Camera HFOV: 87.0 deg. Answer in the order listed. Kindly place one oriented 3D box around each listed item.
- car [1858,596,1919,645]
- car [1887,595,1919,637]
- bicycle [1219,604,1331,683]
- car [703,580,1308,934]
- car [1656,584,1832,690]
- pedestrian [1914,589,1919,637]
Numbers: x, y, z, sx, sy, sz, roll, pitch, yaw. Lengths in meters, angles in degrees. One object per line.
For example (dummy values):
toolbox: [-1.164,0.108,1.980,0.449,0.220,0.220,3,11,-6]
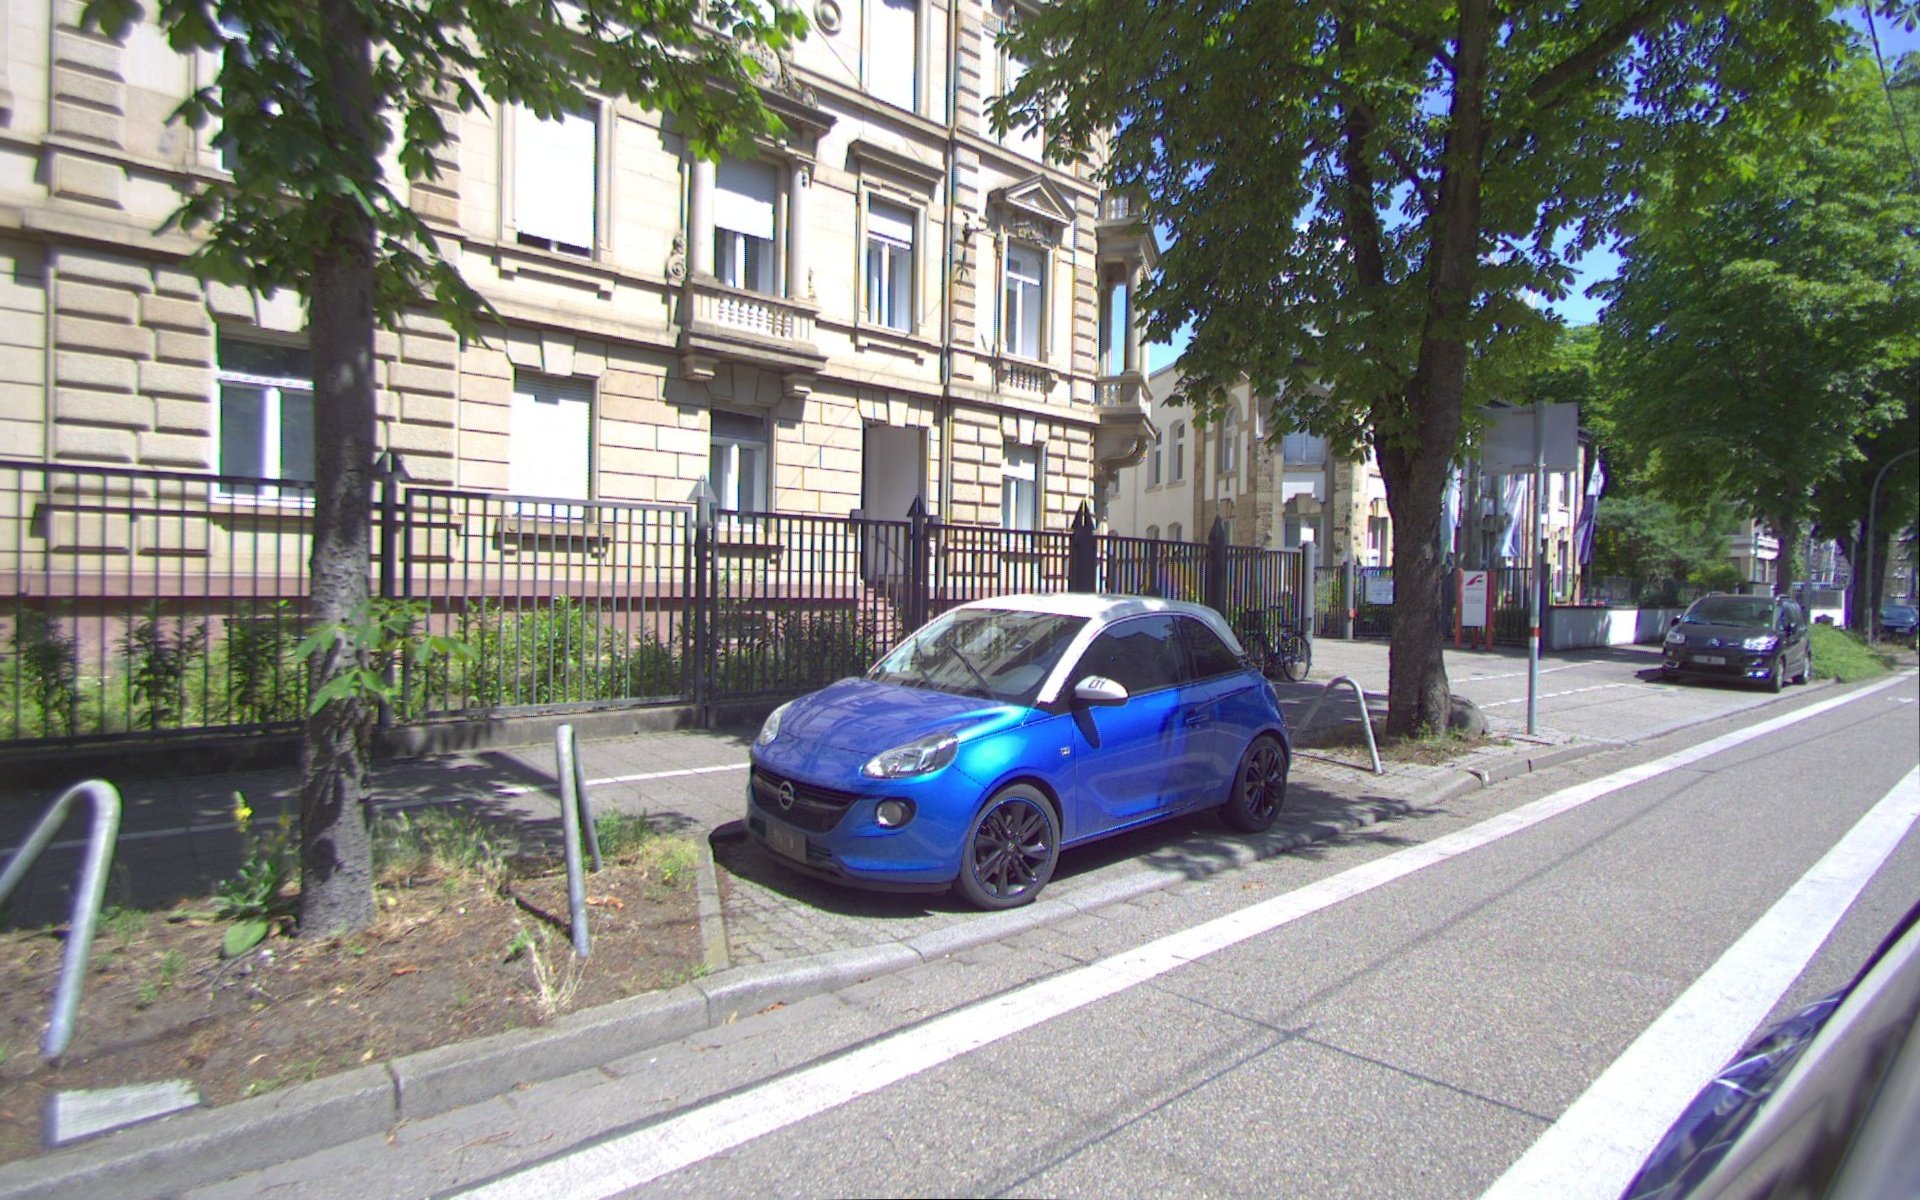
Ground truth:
car: [30.473,0.637,32.731,3.757,1.420,1.625,0,4,-42]
car: [35.398,0.599,37.084,3.931,1.420,1.625,0,4,-42]
bicycle: [4.653,0.604,14.878,1.945,1.084,0.609,0,1,-40]
car: [0.425,0.652,6.059,3.414,1.471,1.693,0,1,-42]
car: [14.341,0.600,18.448,4.013,1.635,1.733,0,3,-41]
pedestrian: [37.753,0.515,39.326,0.724,1.873,0.648,1,1,-15]
